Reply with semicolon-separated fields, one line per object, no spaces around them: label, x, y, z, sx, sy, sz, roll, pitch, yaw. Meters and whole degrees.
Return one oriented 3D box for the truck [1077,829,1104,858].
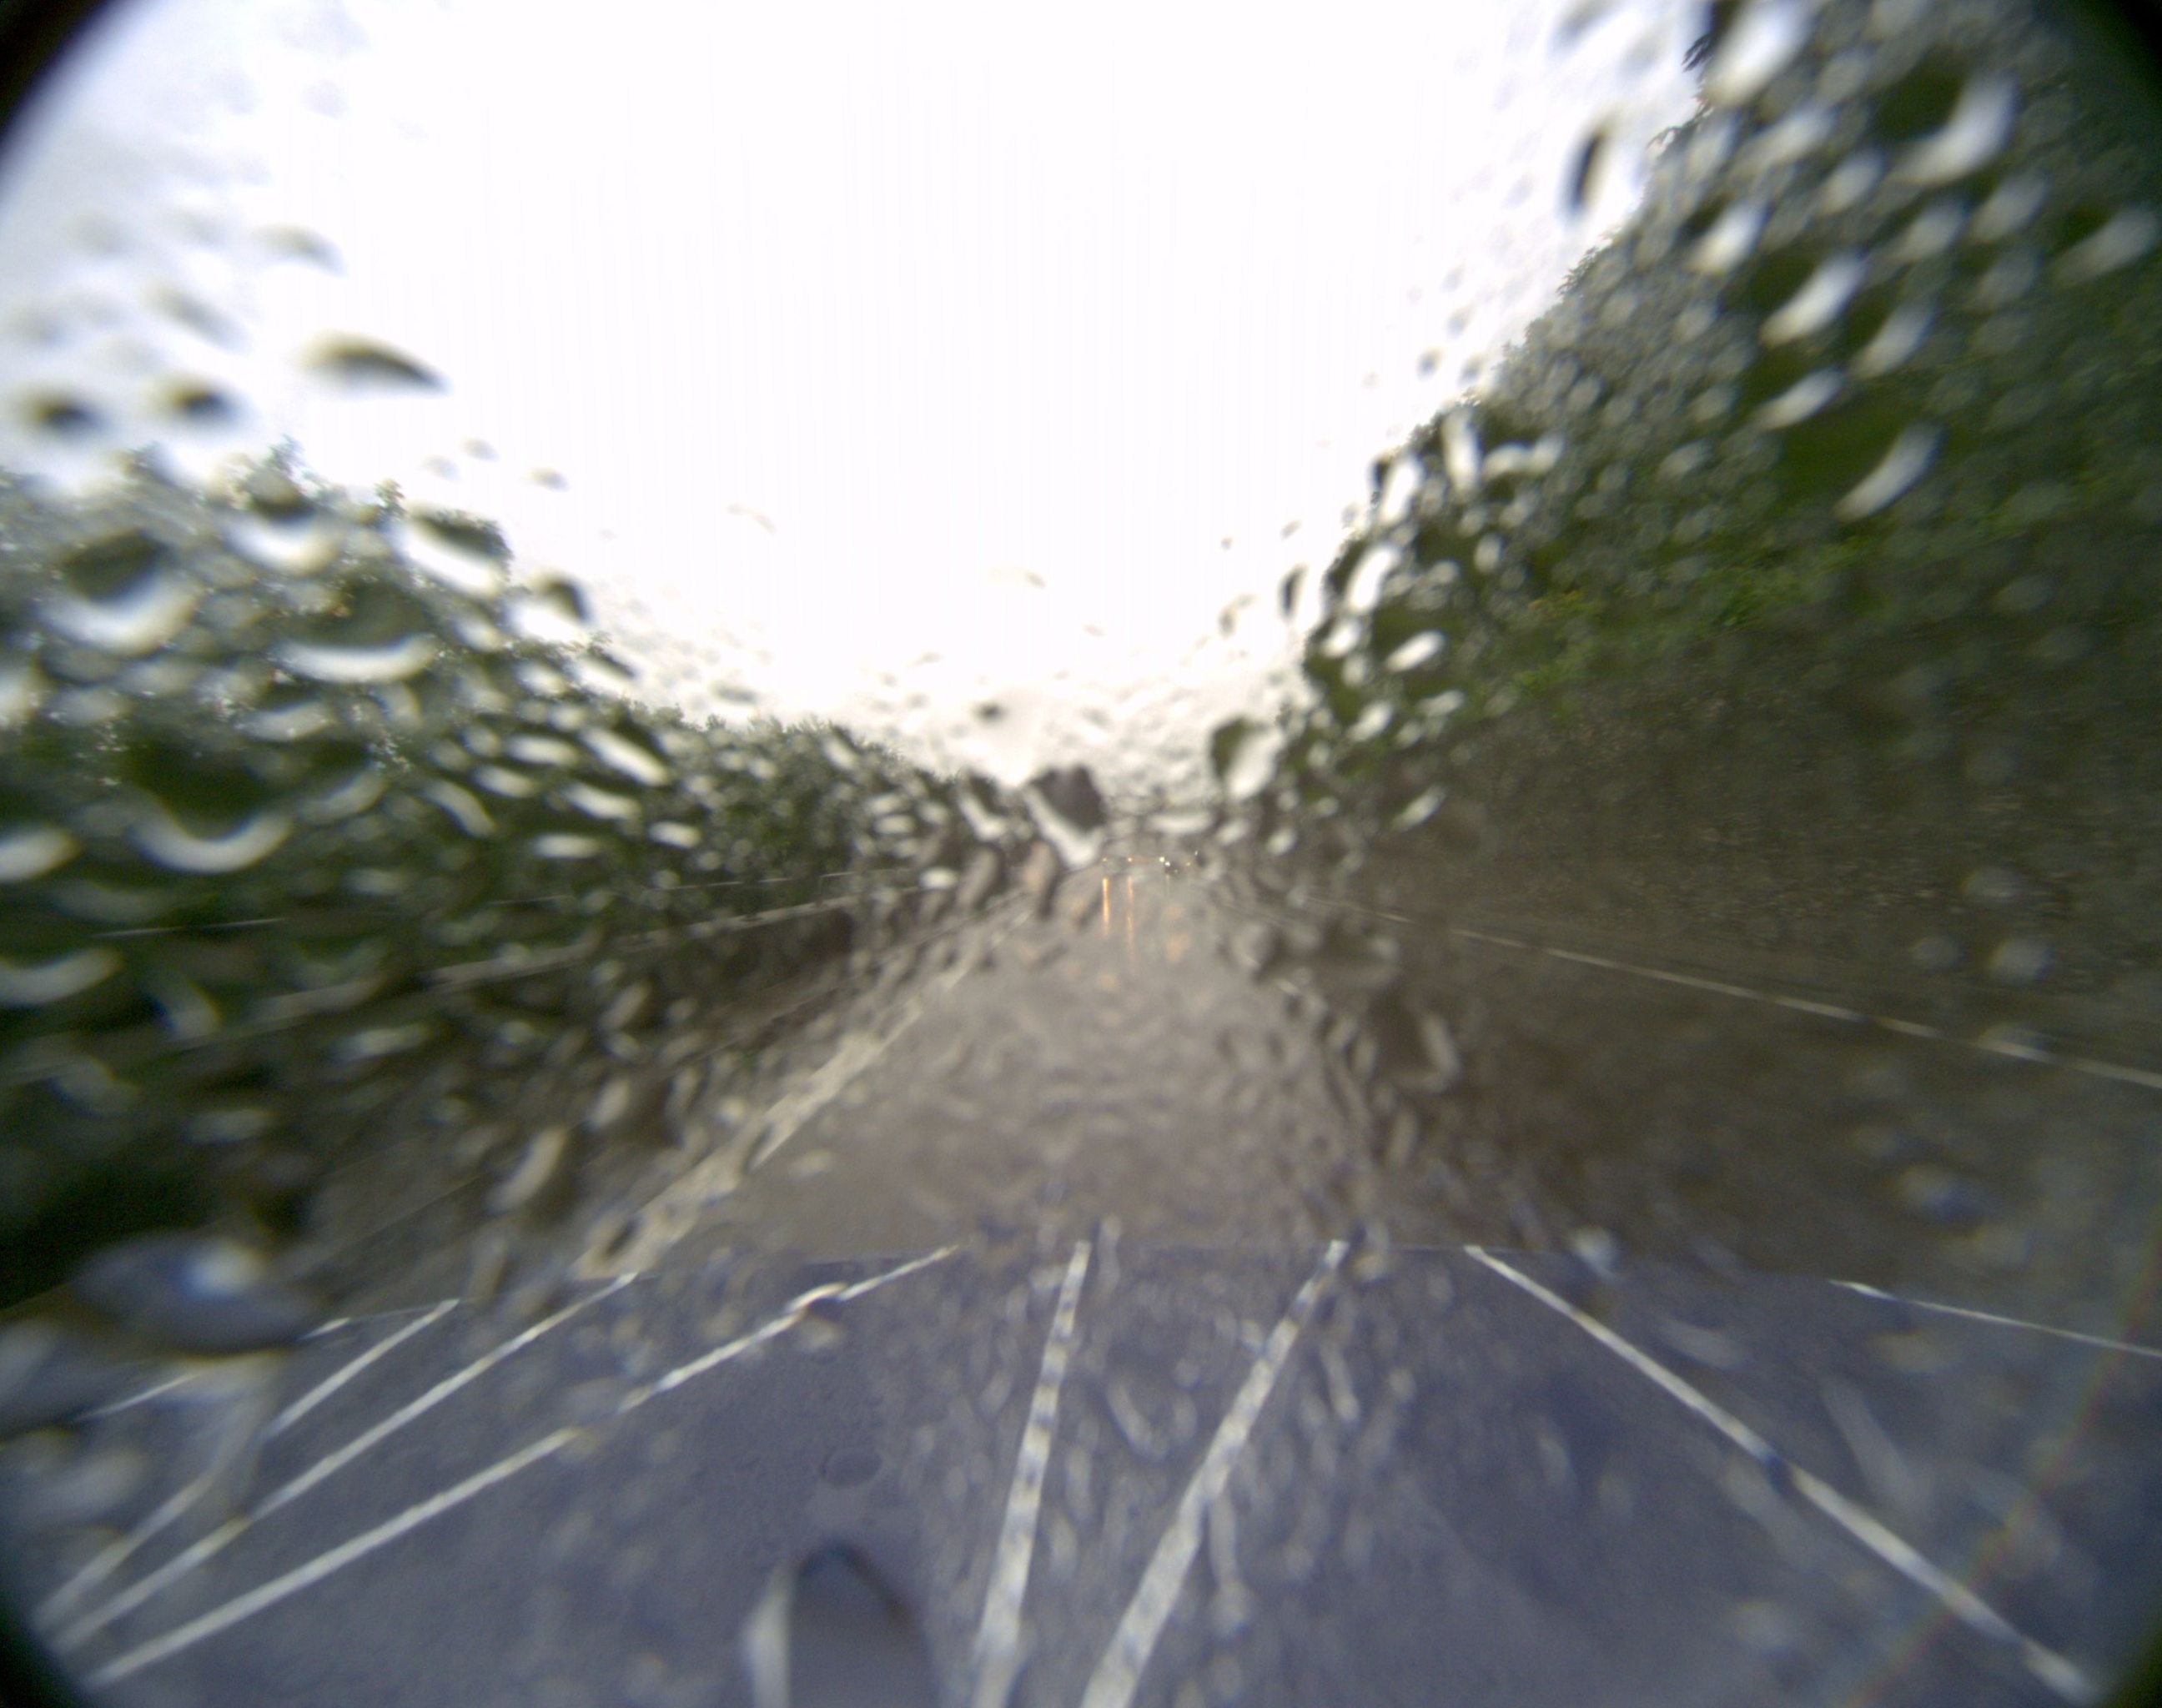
truck;1.472;-1.592;114.059;2.808;4.280;6.470;-1;1;11

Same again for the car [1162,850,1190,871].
car;6.765;0.460;54.175;1.826;1.375;4.001;-2;0;6

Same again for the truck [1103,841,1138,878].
truck;2.922;0.386;54.670;2.107;2.481;8.006;0;0;6

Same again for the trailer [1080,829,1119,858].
trailer;3.119;-1.642;120.921;2.938;4.280;14.252;-1;1;15

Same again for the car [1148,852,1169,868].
car;8.033;0.595;78.750;1.826;1.375;4.002;-3;1;9
